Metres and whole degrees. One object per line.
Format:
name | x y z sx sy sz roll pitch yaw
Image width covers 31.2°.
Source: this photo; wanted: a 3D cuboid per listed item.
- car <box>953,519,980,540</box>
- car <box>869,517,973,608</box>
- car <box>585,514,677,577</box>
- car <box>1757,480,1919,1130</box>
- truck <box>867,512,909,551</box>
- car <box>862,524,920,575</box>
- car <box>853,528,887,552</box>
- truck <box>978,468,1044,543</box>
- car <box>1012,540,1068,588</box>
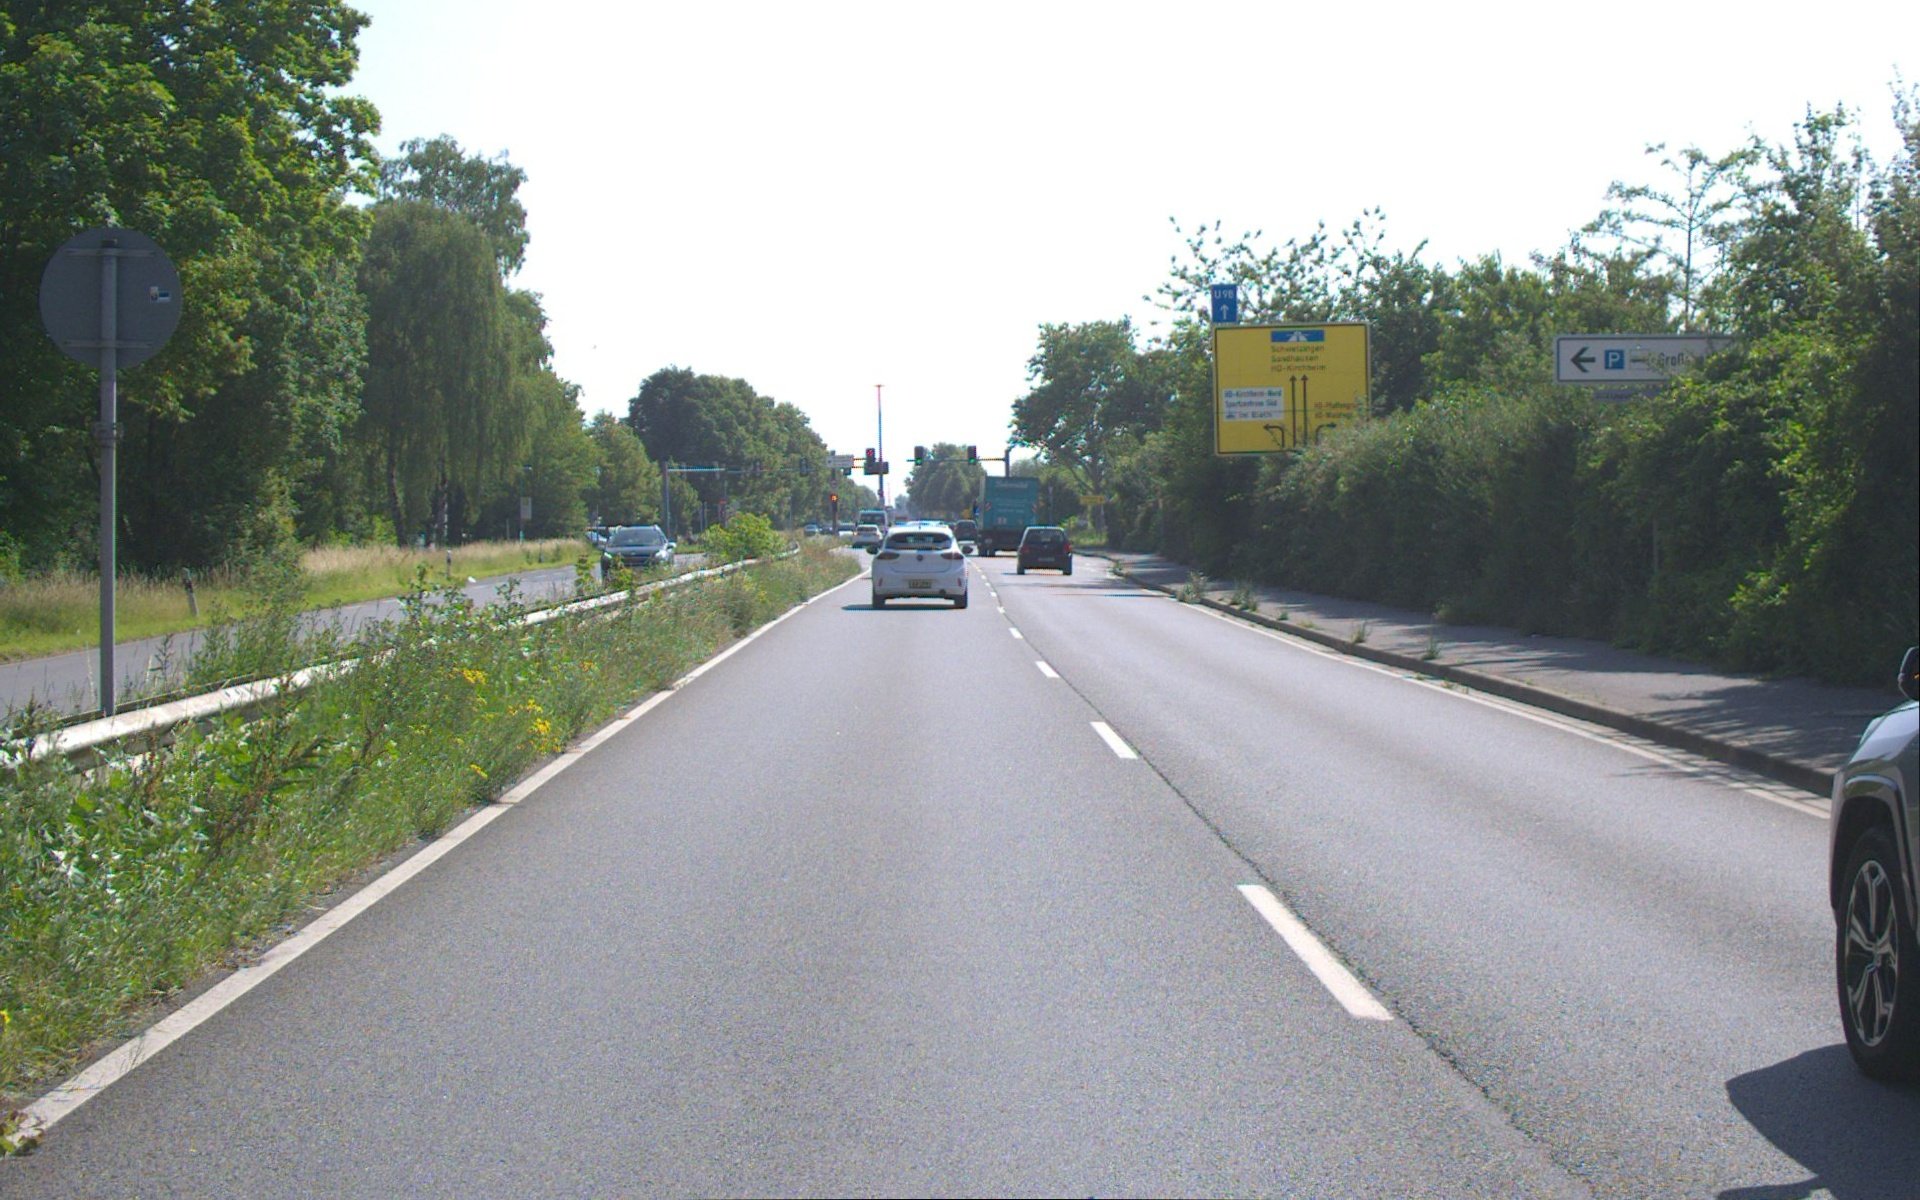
car | 0.453 -5.098 249.958 1.812 1.459 4.459 -1 1 2
car | -0.678 -0.707 61.991 1.798 1.547 4.000 1 2 0
car | -8.338 -1.391 87.434 1.779 1.525 4.161 -1 1 2
car | 3.449 0.564 8.210 1.902 1.674 4.684 1 1 -1
truck | -4.647 -4.468 222.727 2.374 2.380 6.041 0 3 2
car | -1.901 -1.414 95.585 1.572 1.409 3.278 0 1 0
car | -5.620 -3.734 215.645 1.812 1.459 4.970 -1 1 2
truck | 2.370 -4.478 163.394 2.891 3.417 9.170 -1 1 0
car | 2.396 -1.069 103.007 1.572 1.410 3.277 0 0 0
